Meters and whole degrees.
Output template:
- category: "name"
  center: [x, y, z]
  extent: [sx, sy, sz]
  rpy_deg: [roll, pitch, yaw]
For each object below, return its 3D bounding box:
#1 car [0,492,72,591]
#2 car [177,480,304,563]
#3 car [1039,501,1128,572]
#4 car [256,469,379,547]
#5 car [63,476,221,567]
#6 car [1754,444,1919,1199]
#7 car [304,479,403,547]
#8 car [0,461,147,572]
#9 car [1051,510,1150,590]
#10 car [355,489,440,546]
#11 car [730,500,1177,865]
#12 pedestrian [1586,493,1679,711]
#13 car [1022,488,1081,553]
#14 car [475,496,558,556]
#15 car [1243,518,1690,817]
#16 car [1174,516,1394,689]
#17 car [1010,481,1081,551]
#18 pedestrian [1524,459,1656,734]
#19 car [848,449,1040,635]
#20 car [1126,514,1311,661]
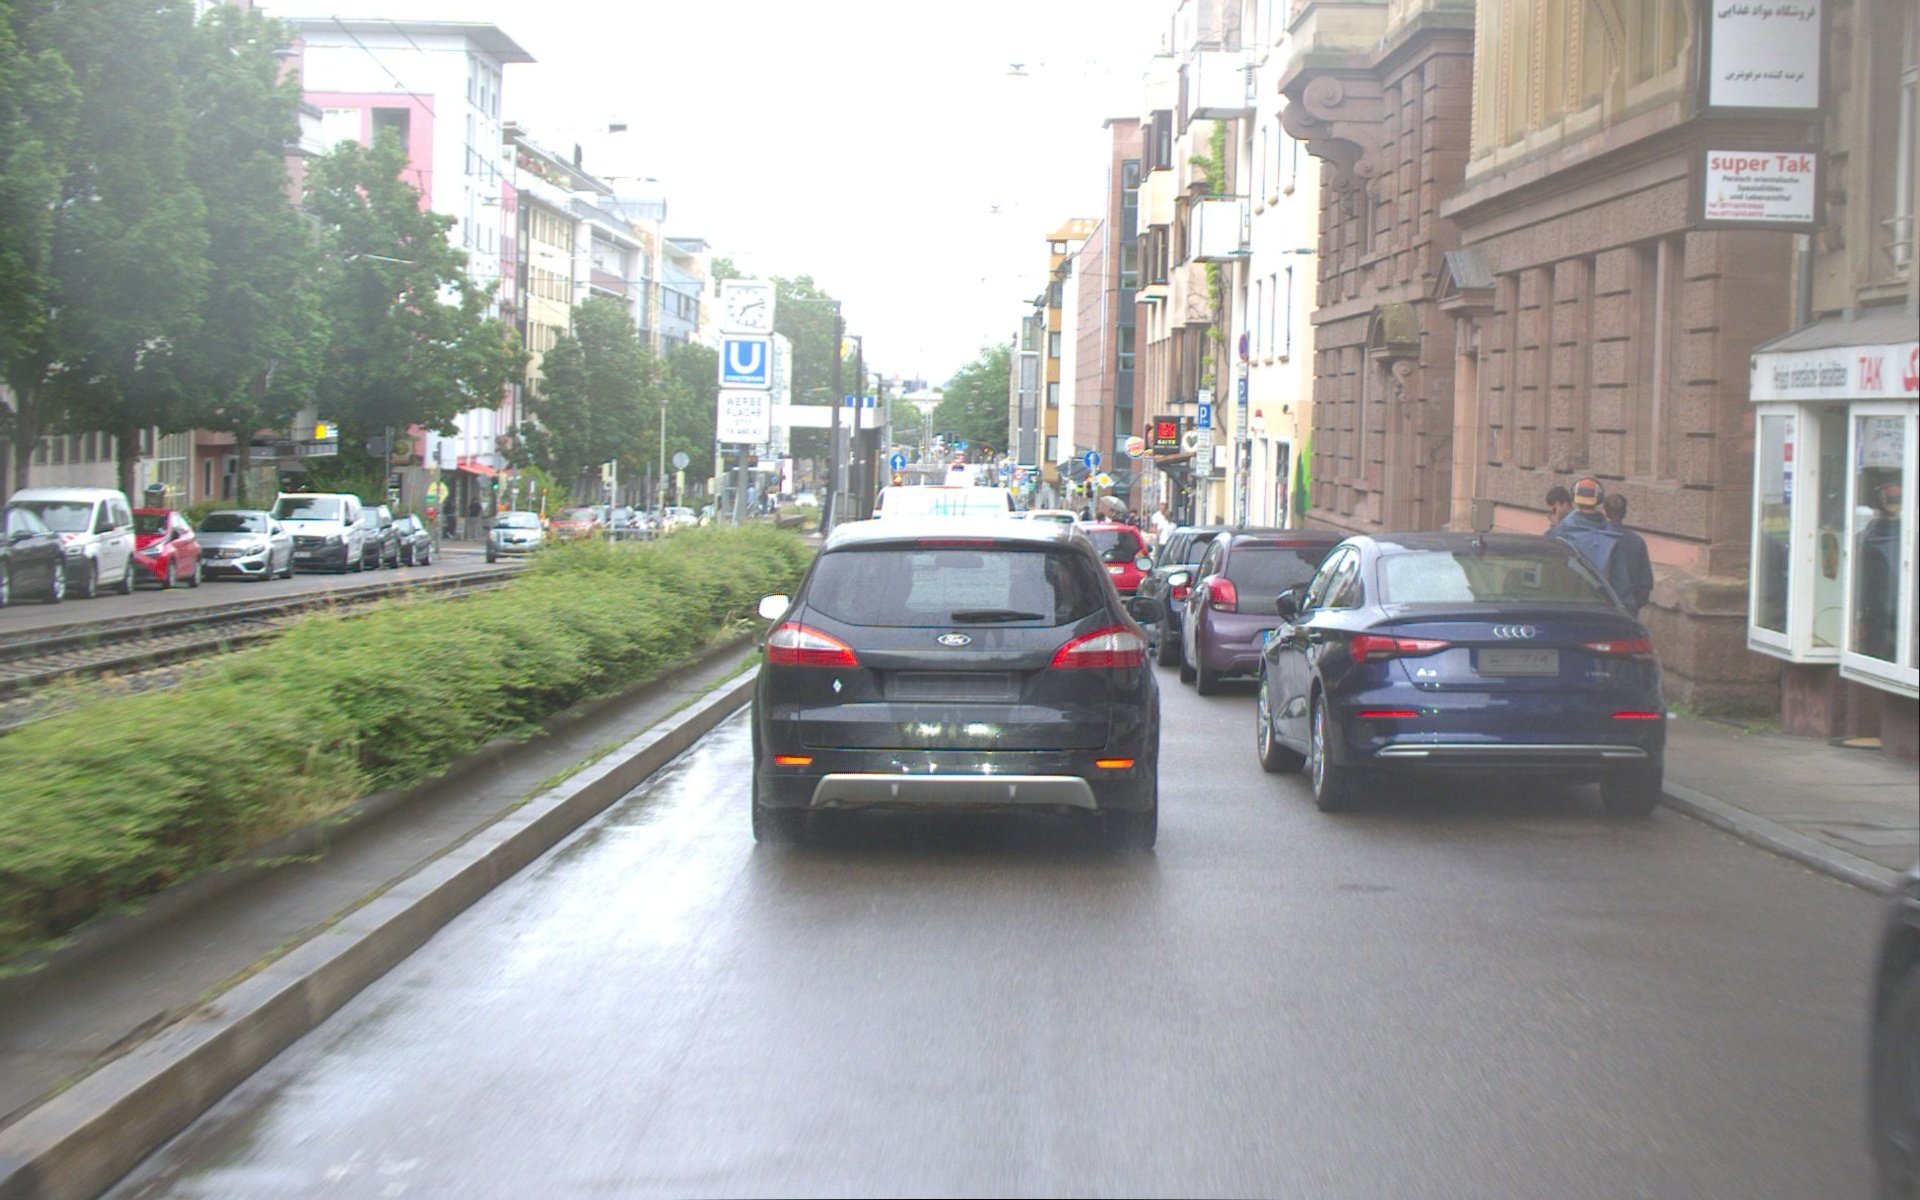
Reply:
- category: "car"
  center: [-14.566, -0.832, 50.510]
  extent: [1.855, 1.413, 4.431]
  rpy_deg: [-1, 0, 0]
- category: "car"
  center: [-14.535, -1.564, 69.664]
  extent: [1.668, 1.553, 4.046]
  rpy_deg: [2, 0, 0]
- category: "car"
  center: [2.535, -1.324, 70.951]
  extent: [1.670, 1.416, 3.476]
  rpy_deg: [1, 1, 0]
- category: "car"
  center: [-14.720, -2.089, 79.008]
  extent: [1.855, 1.631, 4.935]
  rpy_deg: [2, 0, 0]
- category: "car"
  center: [-14.849, -1.399, 62.583]
  extent: [1.855, 1.521, 4.046]
  rpy_deg: [2, 0, 0]
- category: "car"
  center: [2.517, 0.587, 4.576]
  extent: [1.845, 1.627, 4.586]
  rpy_deg: [2, 1, 0]
- category: "car"
  center: [-15.059, -2.148, 85.562]
  extent: [1.695, 1.568, 4.046]
  rpy_deg: [2, 0, 0]
- category: "car"
  center: [-14.831, -1.345, 56.465]
  extent: [1.855, 1.695, 4.431]
  rpy_deg: [2, 0, 0]
- category: "car"
  center: [2.612, -0.952, 64.337]
  extent: [1.670, 1.416, 3.476]
  rpy_deg: [1, 1, 0]
- category: "car"
  center: [-14.963, -2.185, 91.604]
  extent: [1.550, 1.390, 4.046]
  rpy_deg: [2, 0, 0]
- category: "car"
  center: [-0.098, 0.302, 16.279]
  extent: [1.842, 1.502, 4.001]
  rpy_deg: [1, 1, -2]
- category: "pedestrian"
  center: [4.961, 0.015, 25.396]
  extent: [0.519, 1.574, 0.677]
  rpy_deg: [-1, 0, 0]
- category: "car"
  center: [2.731, -2.367, 102.916]
  extent: [1.591, 1.775, 3.779]
  rpy_deg: [4, 0, 0]
- category: "car"
  center: [-13.057, -2.162, 101.409]
  extent: [1.855, 1.631, 4.046]
  rpy_deg: [2, 0, 0]
- category: "car"
  center: [2.629, 0.307, 18.781]
  extent: [1.791, 1.402, 4.257]
  rpy_deg: [2, 1, 0]
- category: "car"
  center: [2.872, -0.021, 31.050]
  extent: [1.649, 1.454, 3.476]
  rpy_deg: [1, 1, 0]
- category: "car"
  center: [2.394, -2.356, 96.949]
  extent: [1.839, 1.775, 3.779]
  rpy_deg: [4, 0, 0]
- category: "pedestrian"
  center: [4.298, -0.042, 23.496]
  extent: [0.703, 1.813, 0.961]
  rpy_deg: [-1, 3, 0]
- category: "car"
  center: [-0.134, -0.742, 41.116]
  extent: [1.988, 2.053, 4.645]
  rpy_deg: [1, 2, 3]
- category: "car"
  center: [2.696, -0.174, 36.564]
  extent: [1.577, 1.454, 3.822]
  rpy_deg: [1, 1, -1]
